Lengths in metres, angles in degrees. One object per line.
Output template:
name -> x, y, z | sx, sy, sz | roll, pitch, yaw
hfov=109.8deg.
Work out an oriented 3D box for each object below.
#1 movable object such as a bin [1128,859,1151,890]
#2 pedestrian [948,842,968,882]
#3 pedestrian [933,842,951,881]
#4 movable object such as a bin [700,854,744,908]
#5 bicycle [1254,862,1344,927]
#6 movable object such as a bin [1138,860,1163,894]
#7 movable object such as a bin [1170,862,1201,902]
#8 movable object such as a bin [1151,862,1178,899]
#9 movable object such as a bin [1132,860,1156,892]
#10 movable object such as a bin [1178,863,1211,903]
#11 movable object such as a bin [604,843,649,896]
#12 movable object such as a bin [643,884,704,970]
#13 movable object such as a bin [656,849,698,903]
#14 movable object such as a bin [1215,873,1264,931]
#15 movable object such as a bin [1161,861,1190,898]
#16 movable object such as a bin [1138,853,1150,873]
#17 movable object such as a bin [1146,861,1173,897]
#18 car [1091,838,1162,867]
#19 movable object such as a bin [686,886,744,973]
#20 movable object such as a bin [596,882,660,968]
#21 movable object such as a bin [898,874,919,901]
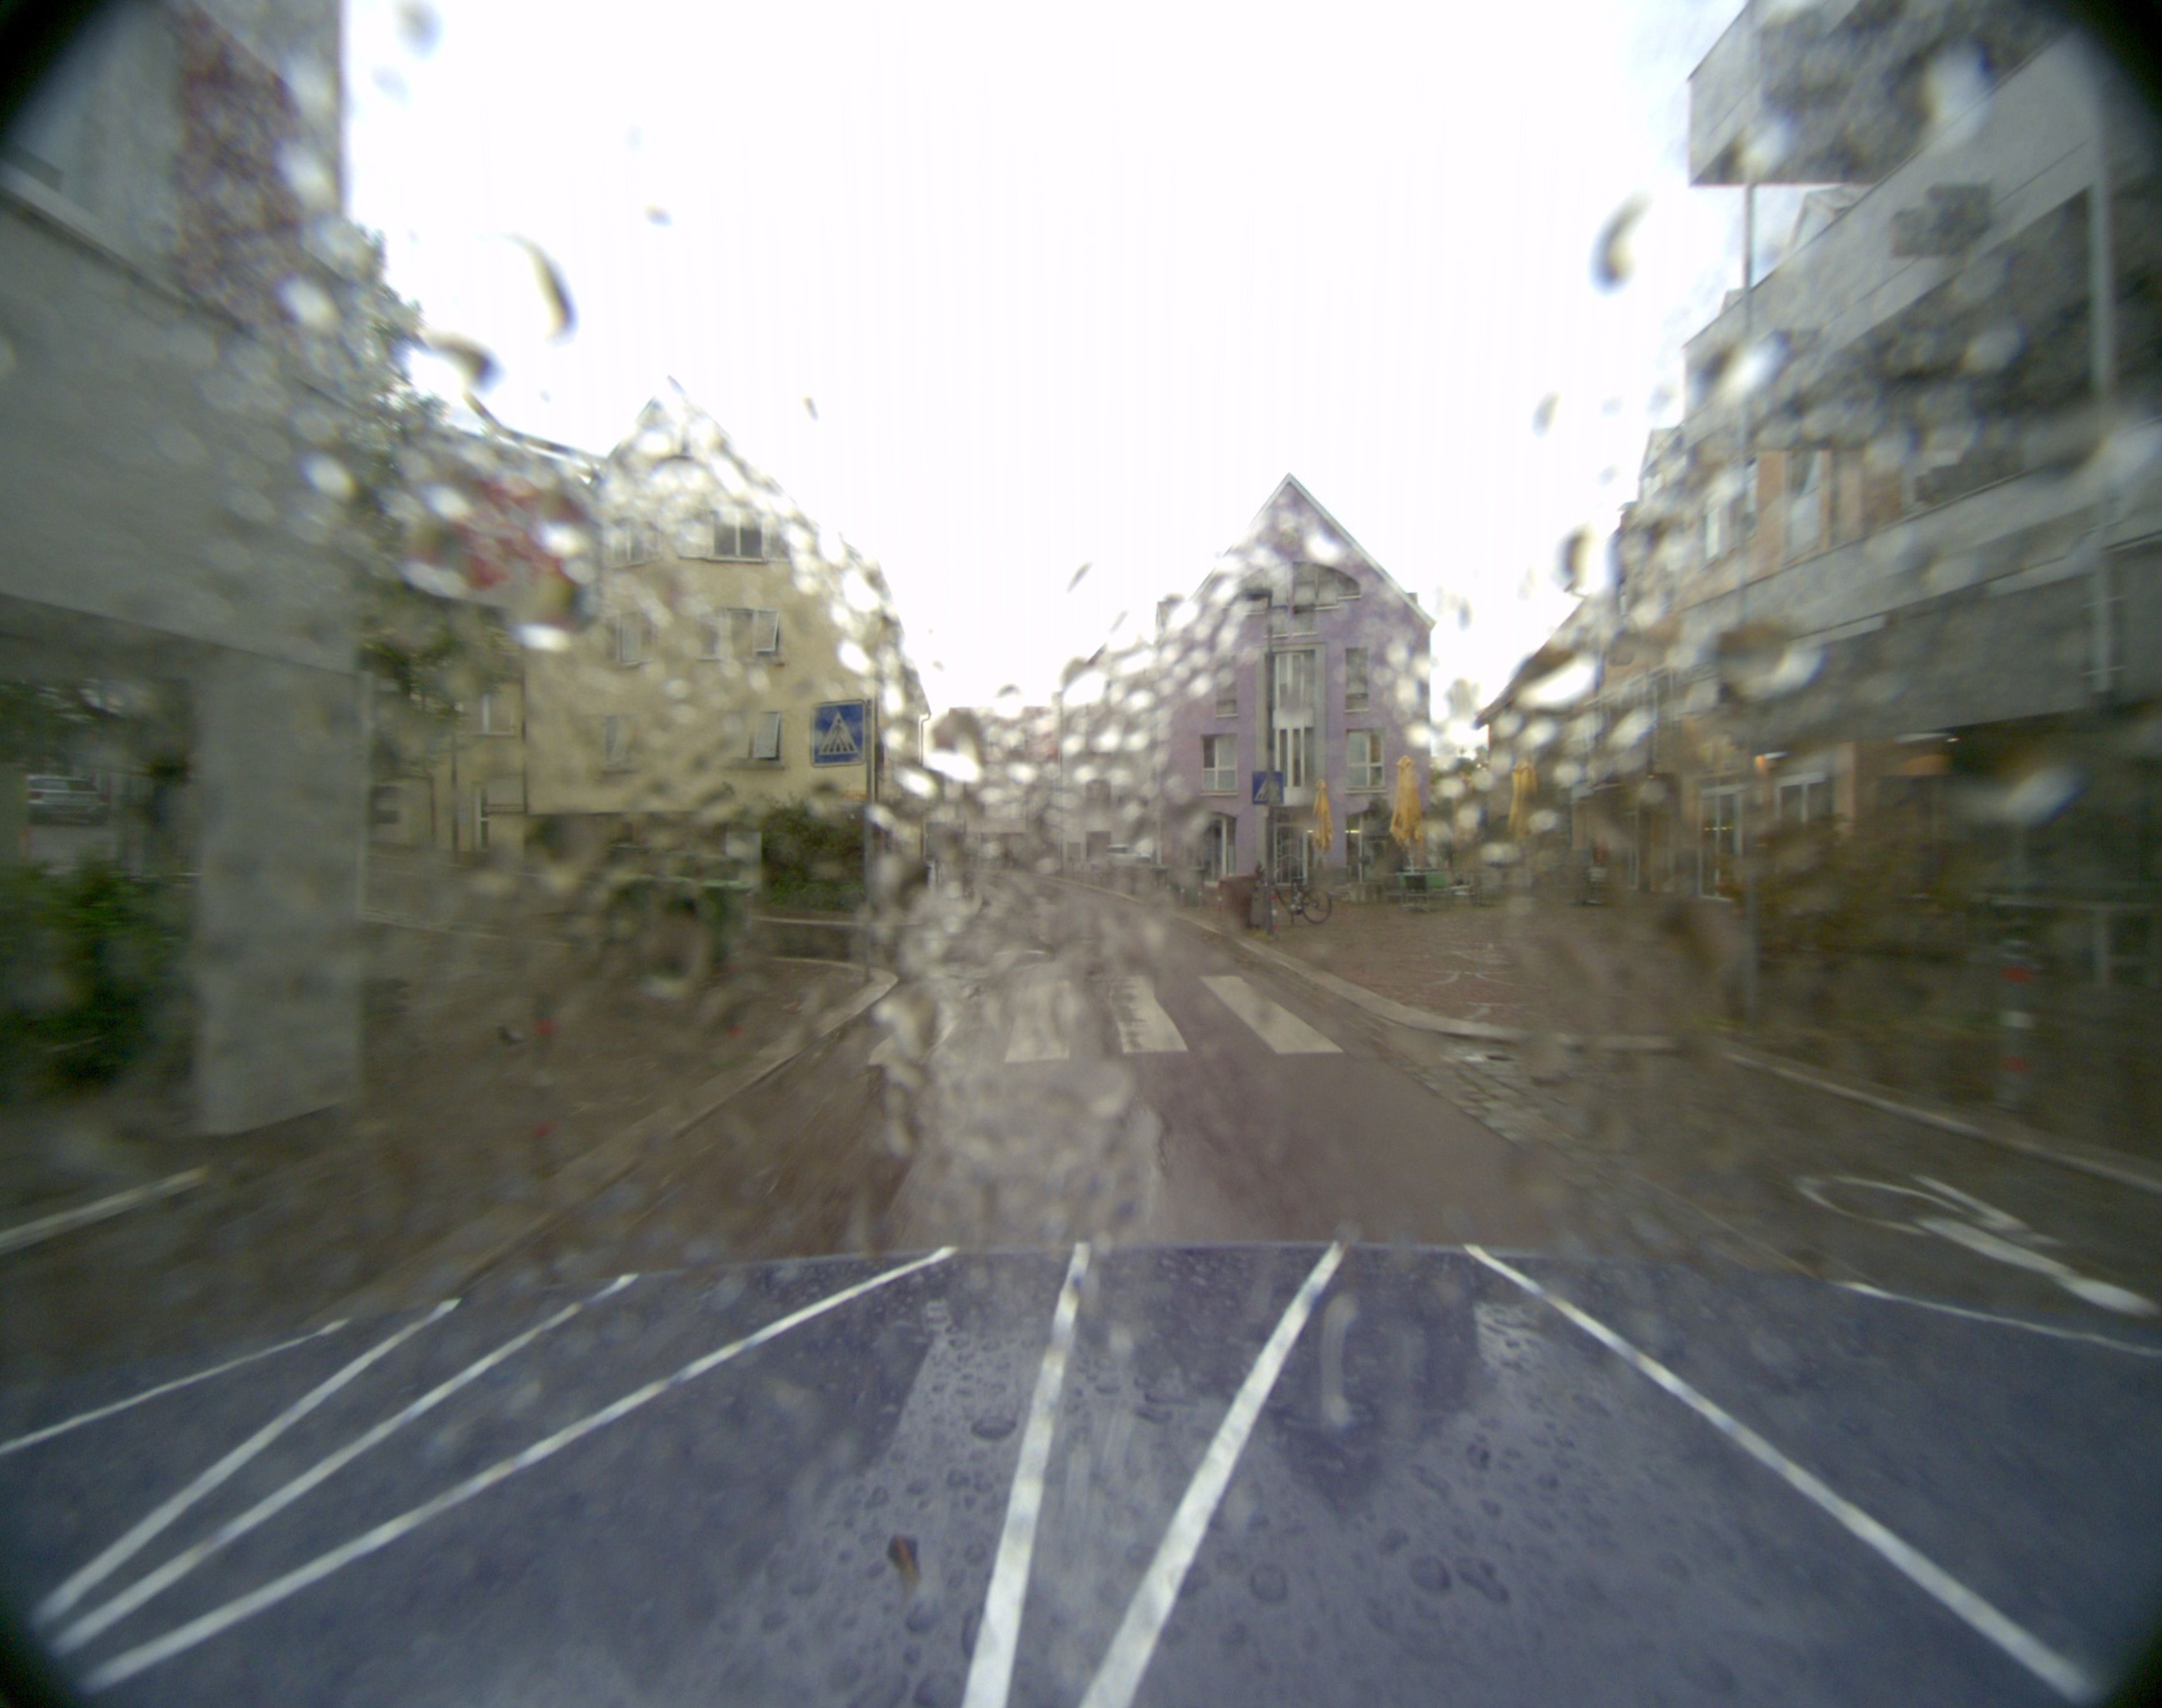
movable object such as a bin -> 2.081, 0.733, 27.057 | 0.689, 1.072, 0.676 | -1, 1, -9
pedestrian -> -6.044, 0.394, 37.390 | 0.775, 1.894, 0.803 | -1, 3, -26
pedestrian -> -6.840, 0.374, 37.299 | 0.656, 1.892, 0.657 | 1, 2, -26
movable object such as a bin -> -7.338, 0.541, 15.533 | 0.513, 1.050, 0.626 | 3, 4, 29
bicycle -> 4.265, 0.771, 14.846 | 1.753, 1.158, 0.443 | -2, 3, -20
movable object such as a bin -> 2.308, 0.759, 25.401 | 0.689, 1.075, 0.669 | -1, 2, -9
movable object such as a bin -> 2.907, 0.761, 21.197 | 0.689, 1.070, 0.669 | -1, 2, -9
movable object such as a bin -> 2.569, 0.798, 23.458 | 0.689, 1.099, 0.669 | -1, 2, -9
movable object such as a bin -> 2.173, 0.753, 26.326 | 0.689, 1.081, 0.712 | -1, 1, -9
movable object such as a bin -> 3.054, 0.780, 20.485 | 0.689, 1.036, 0.669 | -1, 1, -9
movable object such as a bin -> -9.538, 0.310, 15.957 | 0.514, 1.050, 0.626 | 2, 3, 18
movable object such as a bin -> -5.343, 0.952, 9.993 | 0.502, 1.050, 0.548 | 1, 3, -1
movable object such as a bin -> -8.299, 0.451, 15.612 | 0.514, 1.050, 0.625 | 2, 3, 1
movable object such as a bin -> 2.966, 0.890, 14.245 | 0.689, 1.014, 0.631 | -1, 2, -17
movable object such as a bin -> 2.786, 0.748, 22.519 | 0.689, 1.068, 0.669 | -1, 2, -9
movable object such as a bin -> 3.216, 0.434, 38.914 | 0.488, 0.983, 0.572 | -1, 3, -5
movable object such as a bin -> 2.511, 0.780, 24.258 | 0.689, 1.099, 0.669 | -1, 2, -9
car -> 2.677, -0.079, 43.893 | 3.993, 1.575, 1.833 | 0, 3, 7
movable object such as a bin -> -4.775, 0.977, 9.937 | 0.502, 1.050, 0.548 | 1, 3, -1
movable object such as a bin -> -5.930, 0.921, 9.968 | 0.502, 1.050, 0.548 | 1, 3, -1
movable object such as a bin -> -5.734, 1.116, 25.294 | 0.547, 0.831, 0.909 | 2, 1, -6
